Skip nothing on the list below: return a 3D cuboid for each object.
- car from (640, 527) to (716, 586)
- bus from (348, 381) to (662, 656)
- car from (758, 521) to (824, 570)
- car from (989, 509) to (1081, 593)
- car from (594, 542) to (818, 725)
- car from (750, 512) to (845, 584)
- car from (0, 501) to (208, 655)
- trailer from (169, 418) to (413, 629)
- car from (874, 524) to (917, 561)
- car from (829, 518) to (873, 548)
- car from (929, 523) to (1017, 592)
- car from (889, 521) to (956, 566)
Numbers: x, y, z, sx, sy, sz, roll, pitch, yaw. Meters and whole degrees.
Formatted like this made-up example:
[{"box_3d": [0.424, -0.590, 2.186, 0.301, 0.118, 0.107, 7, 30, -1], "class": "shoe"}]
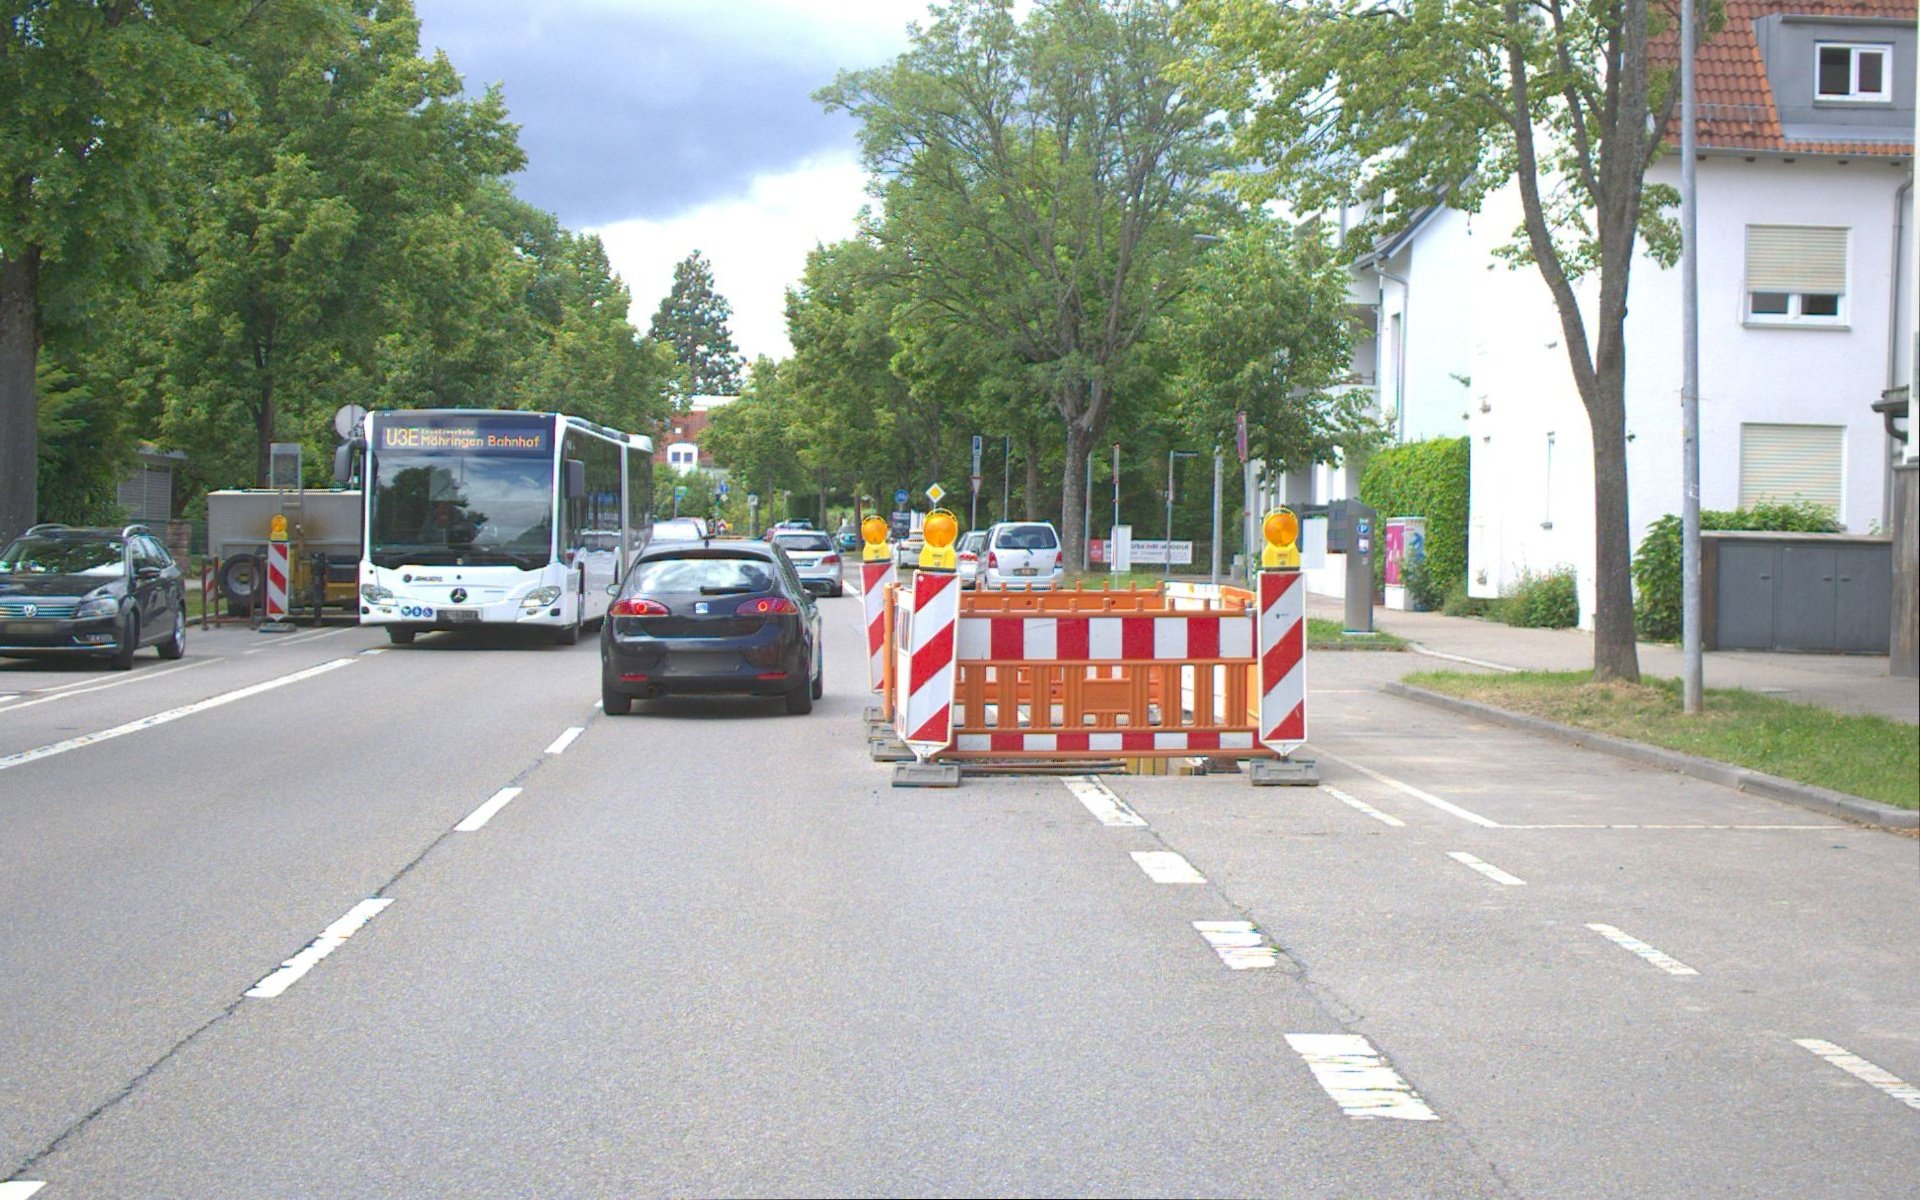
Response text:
[{"box_3d": [-8.343, -1.310, 101.996, 1.993, 1.662, 4.590, -1, 1, -2], "class": "car"}, {"box_3d": [-6.311, -1.091, 50.815, 2.804, 3.277, 18.047, 1, 1, -2], "class": "bus"}, {"box_3d": [-5.513, -1.778, 111.594, 1.993, 1.525, 4.001, 1, 1, -5], "class": "car"}, {"box_3d": [1.524, -1.021, 70.863, 1.632, 1.660, 3.648, 1, 1, -3], "class": "car"}, {"box_3d": [-2.204, 0.241, 29.395, 1.783, 1.444, 3.559, 1, 1, -5], "class": "car"}, {"box_3d": [-3.619, -1.171, 77.032, 1.993, 1.552, 4.000, 1, 1, -1], "class": "car"}, {"box_3d": [-9.559, -0.211, 37.522, 1.860, 1.548, 4.620, 1, 0, -3], "class": "car"}, {"box_3d": [-10.080, -1.122, 52.496, 2.673, 2.931, 7.477, 1, 1, -4], "class": "trailer"}, {"box_3d": [-2.532, -2.250, 134.693, 1.638, 1.415, 4.001, 0, 1, -2], "class": "car"}, {"box_3d": [-5.399, -3.322, 169.597, 1.682, 1.427, 4.045, 0, 1, -8], "class": "car"}, {"box_3d": [0.262, -0.965, 76.549, 1.687, 1.488, 4.228, 0, 1, -3], "class": "car"}, {"box_3d": [-1.264, -1.890, 114.427, 2.020, 1.438, 5.026, 1, 1, -3], "class": "car"}]
